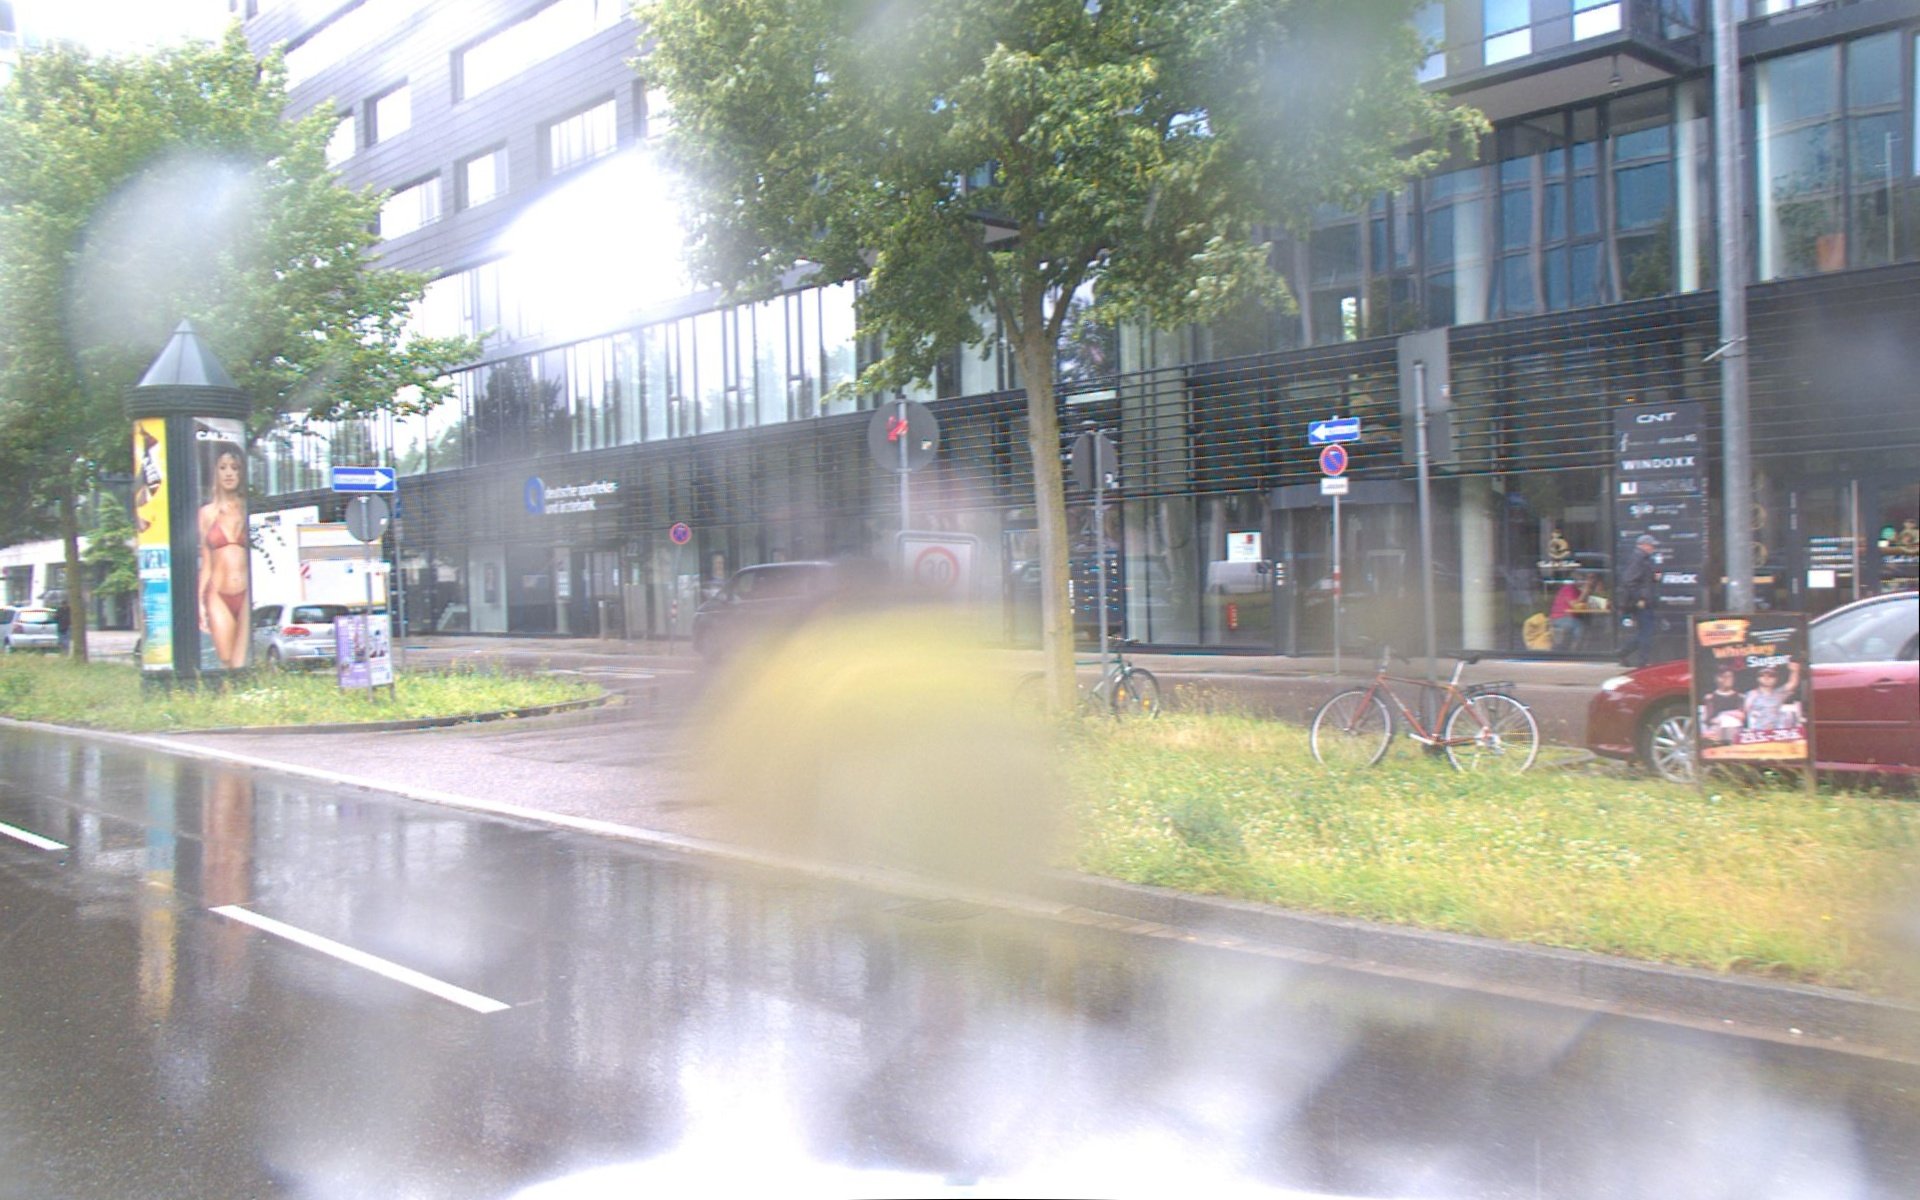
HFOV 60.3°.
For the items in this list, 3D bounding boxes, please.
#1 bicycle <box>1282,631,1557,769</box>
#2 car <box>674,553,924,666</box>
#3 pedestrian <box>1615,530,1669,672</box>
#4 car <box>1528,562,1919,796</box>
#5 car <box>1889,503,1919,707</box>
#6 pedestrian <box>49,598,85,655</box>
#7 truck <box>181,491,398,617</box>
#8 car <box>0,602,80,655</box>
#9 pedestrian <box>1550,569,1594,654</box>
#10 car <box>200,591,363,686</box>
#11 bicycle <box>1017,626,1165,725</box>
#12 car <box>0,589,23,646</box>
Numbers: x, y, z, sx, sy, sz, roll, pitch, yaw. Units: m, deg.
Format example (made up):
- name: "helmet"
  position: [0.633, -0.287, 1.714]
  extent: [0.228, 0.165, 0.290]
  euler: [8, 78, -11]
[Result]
- name: "bicycle"
  position: [3.371, 0.708, 12.219]
  extent: [1.874, 0.877, 0.573]
  euler: [1, 3, 32]
- name: "car"
  position: [-3.150, 0.168, 31.595]
  extent: [1.986, 1.953, 5.064]
  euler: [-2, 1, -45]
- name: "pedestrian"
  position: [9.132, 0.004, 22.154]
  extent: [0.563, 1.864, 0.508]
  euler: [0, 2, 11]
- name: "car"
  position: [6.712, 0.487, 11.517]
  extent: [1.984, 1.480, 4.882]
  euler: [-3, 1, -42]
- name: "car"
  position: [11.029, 0.073, 14.563]
  extent: [4.645, 1.898, 1.886]
  euler: [2, 3, 45]
- name: "pedestrian"
  position: [-24.700, 0.726, 45.742]
  extent: [0.633, 1.519, 0.695]
  euler: [-1, 1, 44]
- name: "truck"
  position: [-20.561, -1.304, 50.419]
  extent: [8.404, 3.501, 3.013]
  euler: [-1, 1, 45]
- name: "car"
  position: [-27.781, 0.804, 48.968]
  extent: [1.763, 1.477, 4.645]
  euler: [-1, 1, -45]
- name: "pedestrian"
  position: [9.269, 0.168, 25.048]
  extent: [0.439, 1.258, 0.582]
  euler: [0, 2, -1]
- name: "car"
  position: [-13.614, 0.702, 33.090]
  extent: [1.752, 1.624, 4.037]
  euler: [-2, 3, -42]
- name: "bicycle"
  position: [1.318, 0.748, 16.703]
  extent: [1.431, 0.933, 0.432]
  euler: [-1, 2, -11]
- name: "car"
  position: [-31.902, 0.528, 53.286]
  extent: [1.984, 1.698, 4.651]
  euler: [-2, 3, -42]
